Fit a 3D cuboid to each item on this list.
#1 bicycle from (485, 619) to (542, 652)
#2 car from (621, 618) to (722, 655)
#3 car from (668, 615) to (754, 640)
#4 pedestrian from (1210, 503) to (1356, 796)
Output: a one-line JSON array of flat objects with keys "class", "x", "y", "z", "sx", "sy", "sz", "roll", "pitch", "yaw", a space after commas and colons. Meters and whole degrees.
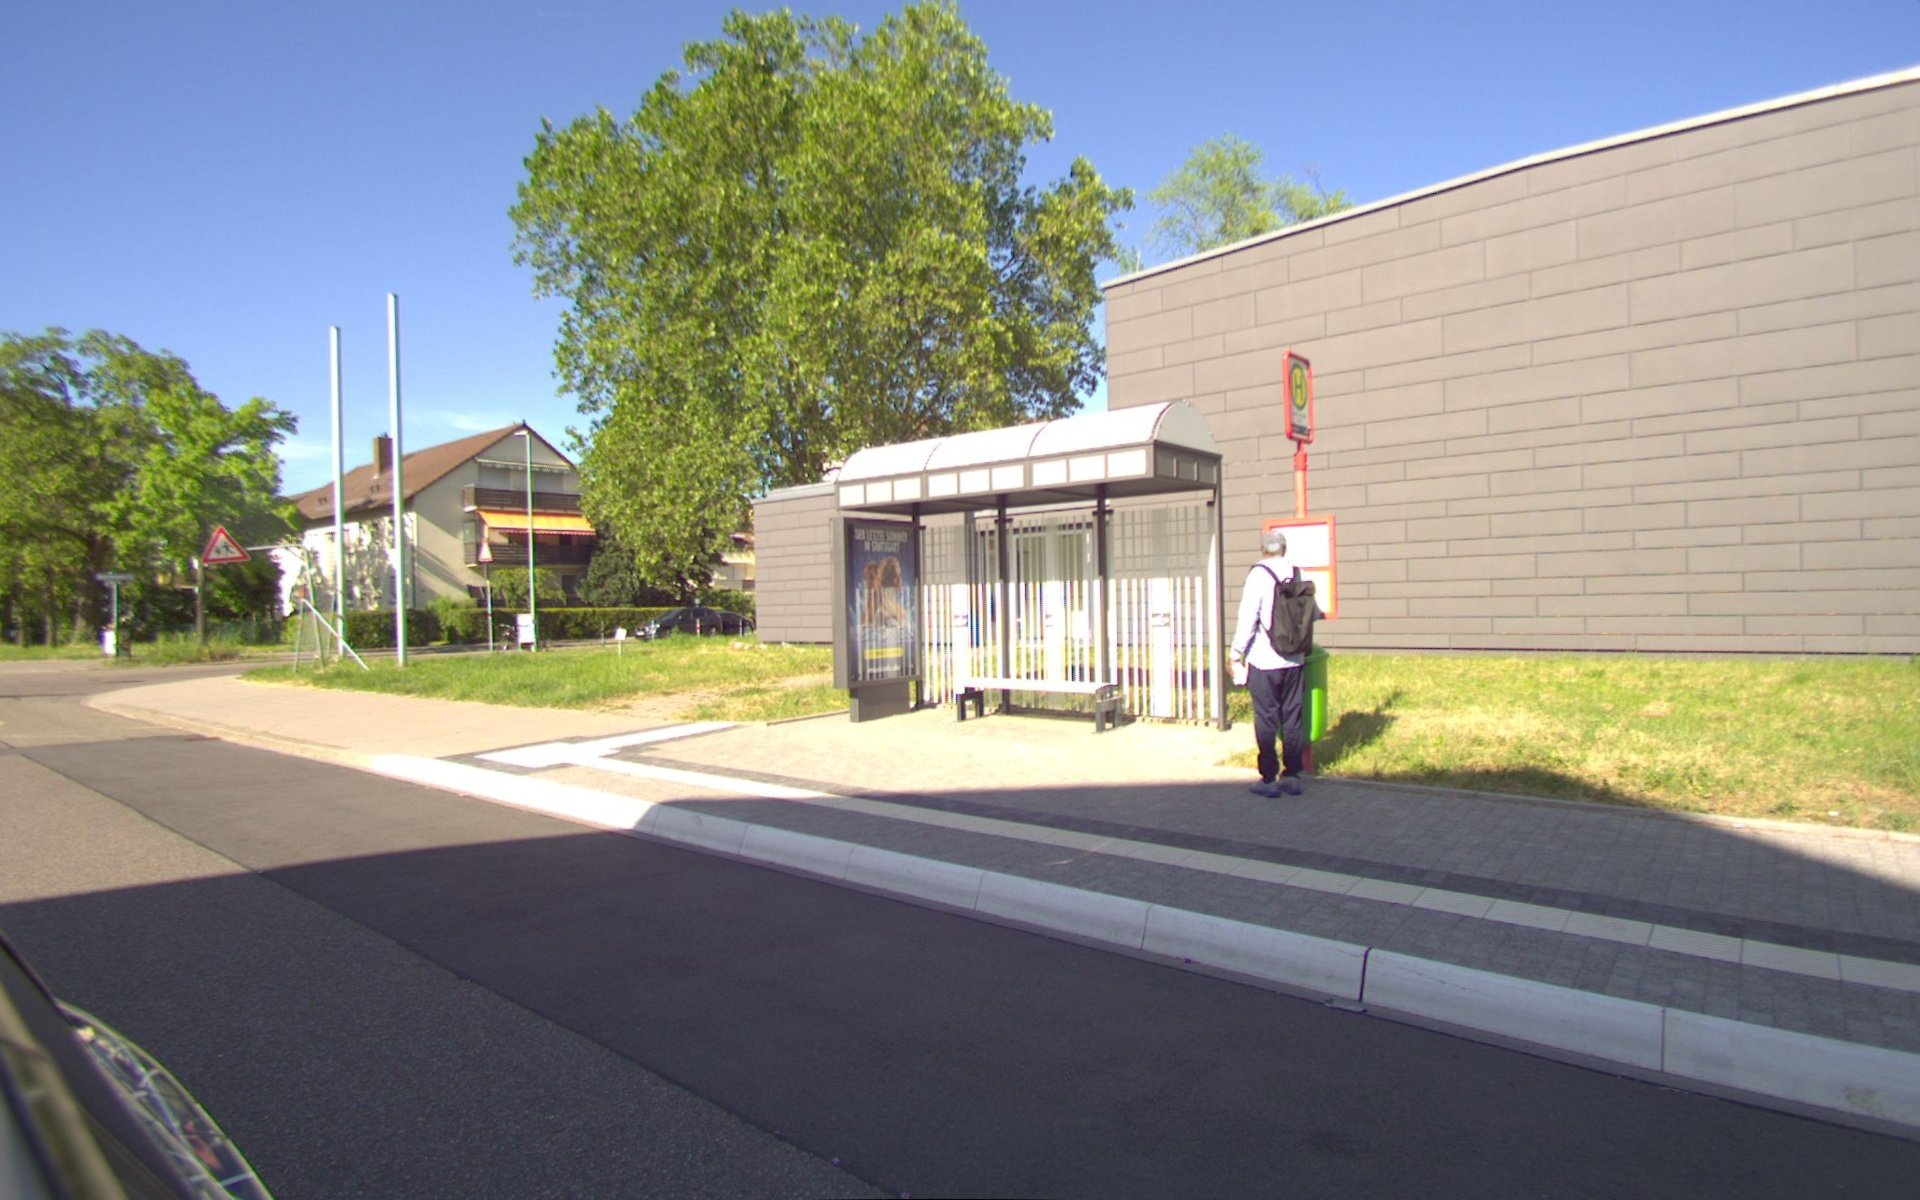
[{"class": "bicycle", "x": -14.439, "y": 1.143, "z": 32.751, "sx": 1.574, "sy": 0.992, "sz": 0.501, "roll": -3, "pitch": -1, "yaw": -35}, {"class": "car", "x": -13.387, "y": 1.669, "z": 47.142, "sx": 2.113, "sy": 1.468, "sz": 4.057, "roll": -1, "pitch": 1, "yaw": 38}, {"class": "car", "x": -12.600, "y": 1.380, "z": 51.305, "sx": 1.631, "sy": 1.039, "sz": 3.965, "roll": -2, "pitch": 0, "yaw": 44}, {"class": "pedestrian", "x": 2.126, "y": 0.309, "z": 6.758, "sx": 0.710, "sy": 1.816, "sz": 0.769, "roll": -3, "pitch": 1, "yaw": 8}]
